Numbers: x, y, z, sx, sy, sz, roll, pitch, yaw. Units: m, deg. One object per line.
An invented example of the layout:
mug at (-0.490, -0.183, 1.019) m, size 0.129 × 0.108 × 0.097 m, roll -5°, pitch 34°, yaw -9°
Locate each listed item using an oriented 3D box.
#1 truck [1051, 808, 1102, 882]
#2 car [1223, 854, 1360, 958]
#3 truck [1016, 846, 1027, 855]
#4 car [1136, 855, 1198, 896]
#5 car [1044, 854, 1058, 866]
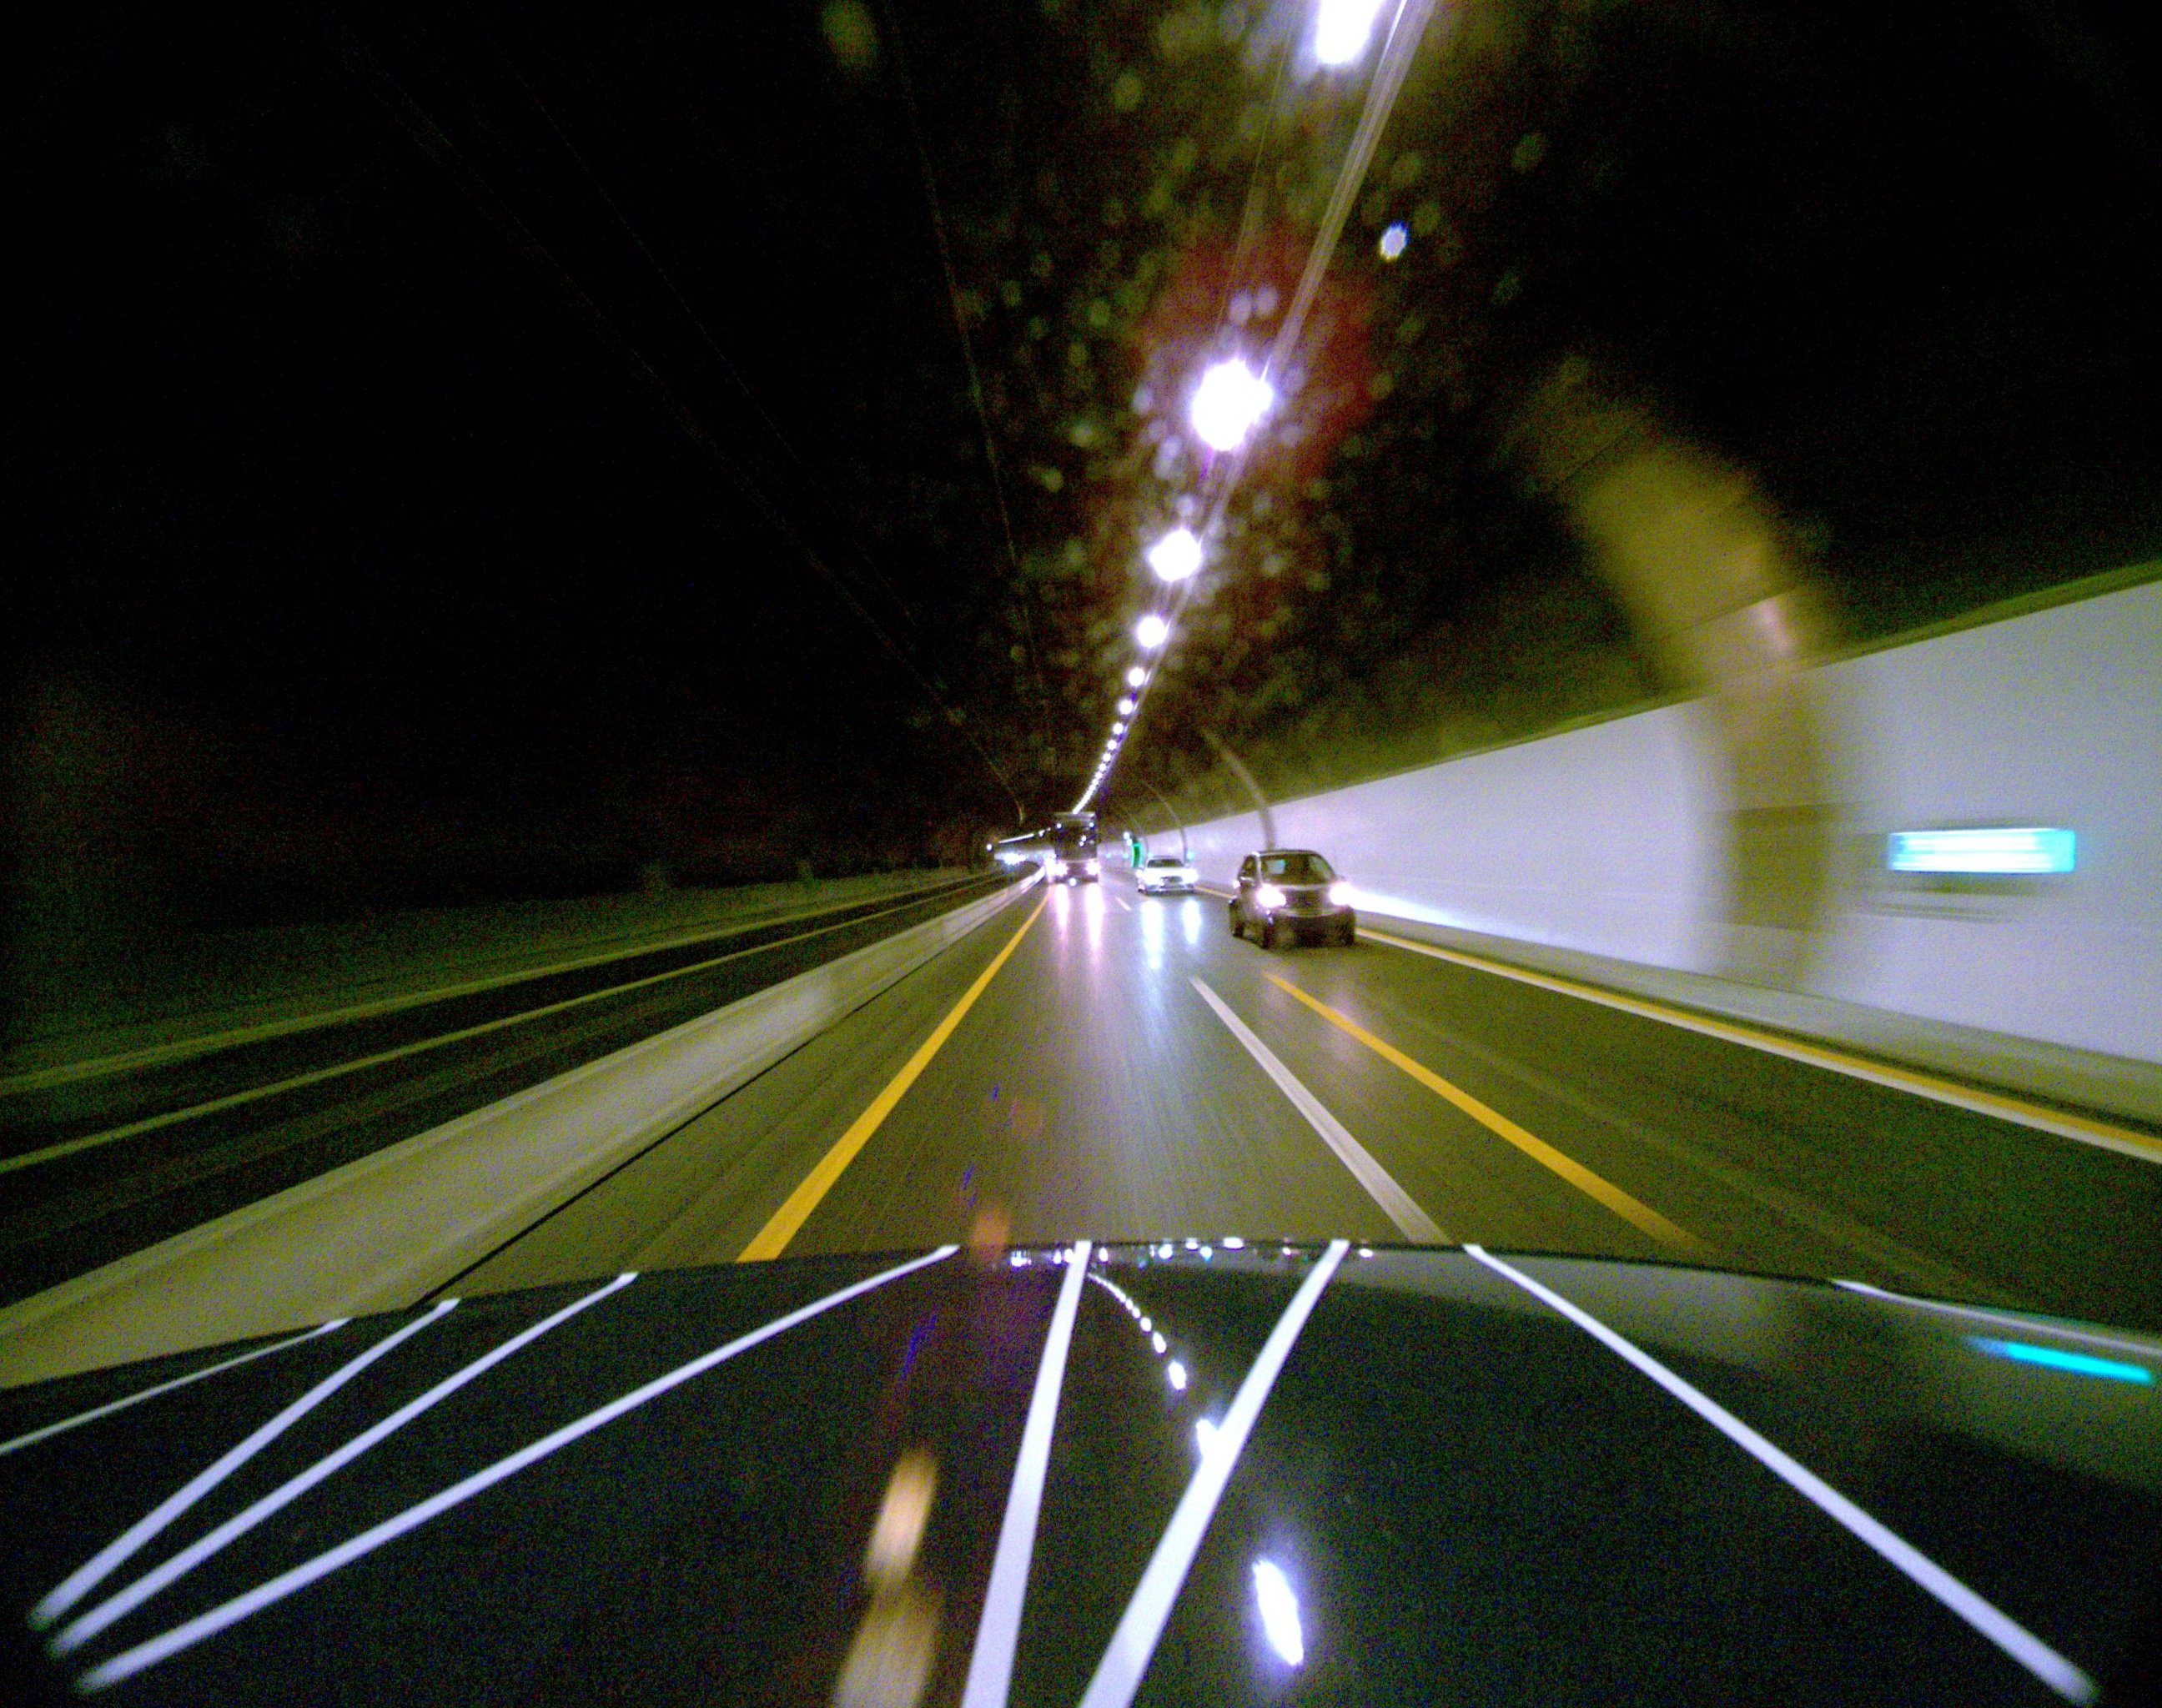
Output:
truck at (-0.261, -0.537, 47.178) m, size 2.742 × 4.127 × 8.099 m, roll -2°, pitch 0°, yaw 0°
car at (3.426, 0.788, 12.793) m, size 1.531 × 1.508 × 2.651 m, roll -2°, pitch 0°, yaw 0°
truck at (-18.157, -0.985, 231.365) m, size 2.611 × 2.723 × 6.392 m, roll -2°, pitch 0°, yaw -10°
car at (3.238, 0.775, 29.311) m, size 1.909 × 1.412 × 4.060 m, roll -2°, pitch 0°, yaw 0°
car at (-4.344, 0.861, 110.384) m, size 1.999 × 1.524 × 3.999 m, roll -2°, pitch 0°, yaw -2°
